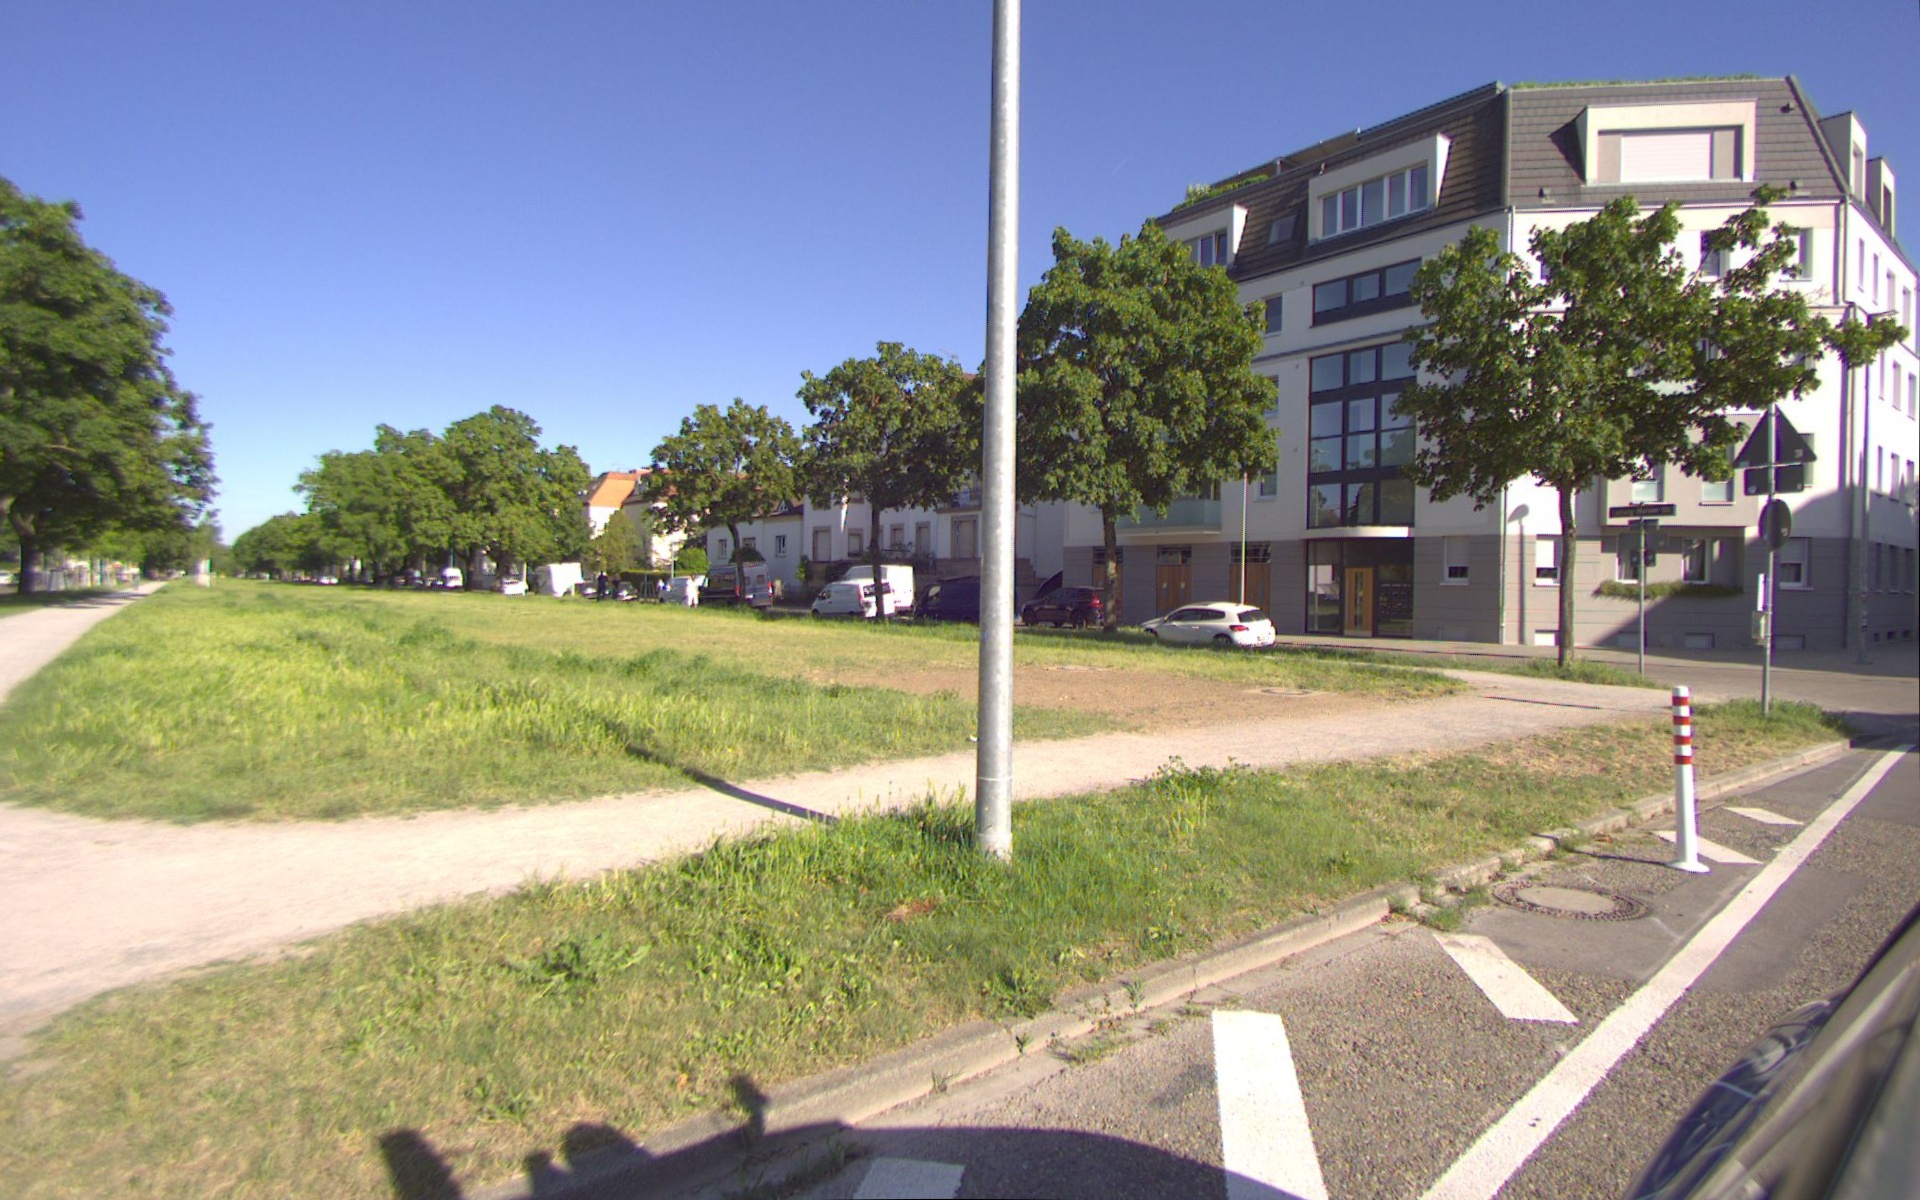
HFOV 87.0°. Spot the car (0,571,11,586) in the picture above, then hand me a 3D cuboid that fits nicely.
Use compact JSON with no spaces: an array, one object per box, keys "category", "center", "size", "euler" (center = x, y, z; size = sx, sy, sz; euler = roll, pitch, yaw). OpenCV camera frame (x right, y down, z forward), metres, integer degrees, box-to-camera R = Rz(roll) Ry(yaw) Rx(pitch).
[{"category":"car","center":[-89.994,-2.044,94.446],"size":[1.690,1.358,3.807],"euler":[0,1,-37]}]

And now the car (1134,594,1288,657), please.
[{"category":"car","center":[6.948,0.650,28.343],"size":[1.709,1.450,3.992],"euler":[-5,4,-37]}]

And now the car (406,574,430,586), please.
[{"category":"car","center":[-67.838,-2.539,126.626],"size":[2.042,1.484,4.726],"euler":[0,1,-37]}]

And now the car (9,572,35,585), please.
[{"category":"car","center":[-99.354,-2.261,107.228],"size":[1.690,1.358,3.807],"euler":[0,1,-37]}]

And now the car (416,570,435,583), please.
[{"category":"car","center":[-77.935,-3.469,147.623],"size":[1.831,1.868,3.993],"euler":[1,1,-37]}]

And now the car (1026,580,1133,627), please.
[{"category":"car","center":[4.748,0.094,40.747],"size":[1.861,1.703,4.287],"euler":[-1,2,-37]}]

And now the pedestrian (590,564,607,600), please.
[{"category":"pedestrian","center":[-18.910,-0.938,52.945],"size":[0.633,1.900,0.629],"euler":[1,0,-39]}]

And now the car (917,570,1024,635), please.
[{"category":"car","center":[0.334,0.019,36.710],"size":[1.752,2.108,3.993],"euler":[-5,4,-36]}]

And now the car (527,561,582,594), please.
[{"category":"car","center":[-31.289,-1.749,78.005],"size":[2.504,2.363,5.918],"euler":[0,1,-37]}]

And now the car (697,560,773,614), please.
[{"category":"car","center":[-11.717,-0.721,52.535],"size":[2.154,2.615,4.287],"euler":[-5,4,-36]}]

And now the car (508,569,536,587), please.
[{"category":"car","center":[-46.686,-2.357,107.827],"size":[1.831,1.868,3.993],"euler":[0,1,-37]}]

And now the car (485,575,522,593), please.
[{"category":"car","center":[-40.725,-1.420,90.240],"size":[2.042,1.484,4.726],"euler":[0,1,-37]}]

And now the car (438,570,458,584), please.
[{"category":"car","center":[-69.513,-3.120,137.417],"size":[1.831,1.868,3.993],"euler":[1,1,-37]}]

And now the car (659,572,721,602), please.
[{"category":"car","center":[-15.558,-0.749,58.163],"size":[2.047,1.619,4.287],"euler":[0,1,-37]}]

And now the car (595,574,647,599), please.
[{"category":"car","center":[-22.452,-0.910,66.989],"size":[2.047,1.619,4.287],"euler":[0,1,-37]}]

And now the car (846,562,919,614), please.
[{"category":"car","center":[-4.035,-0.662,52.254],"size":[1.986,2.580,3.993],"euler":[-1,2,-37]}]

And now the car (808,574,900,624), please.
[{"category":"car","center":[-4.591,-0.119,43.289],"size":[1.843,1.906,4.422],"euler":[-5,4,-36]}]

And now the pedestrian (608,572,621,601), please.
[{"category":"pedestrian","center":[-18.136,-0.715,53.083],"size":[0.488,1.524,0.535],"euler":[1,0,-38]}]

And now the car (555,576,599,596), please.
[{"category":"car","center":[-27.482,-0.997,72.558],"size":[1.899,1.361,4.109],"euler":[0,1,-37]}]

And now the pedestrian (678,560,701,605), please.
[{"category":"pedestrian","center":[-11.346,-0.733,42.449],"size":[0.711,1.900,0.629],"euler":[1,0,-39]}]
